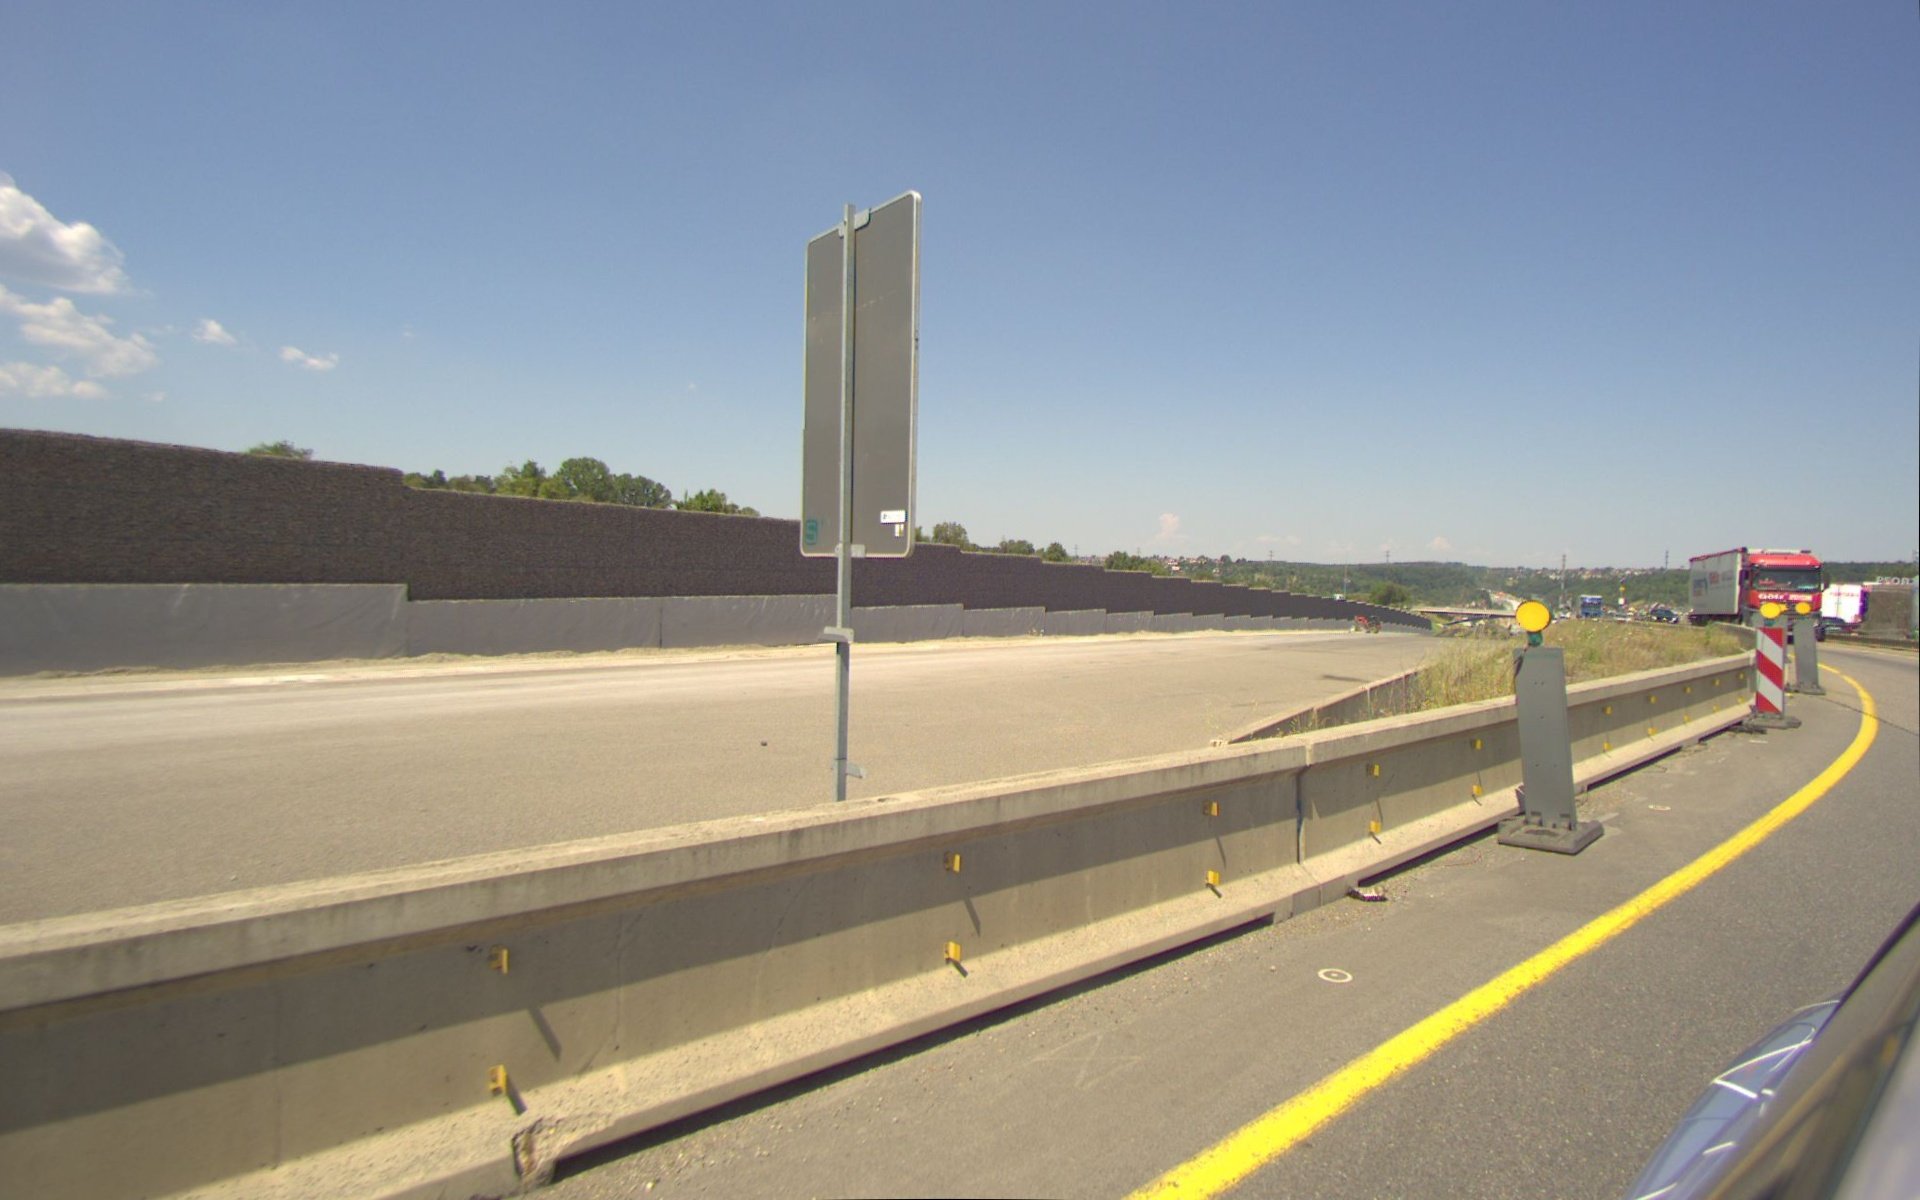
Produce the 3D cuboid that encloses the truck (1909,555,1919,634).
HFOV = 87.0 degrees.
[{"bbox_3d":[49.813,-0.240,50.447,2.436,4.058,5.023,2,1,30],"label":"truck"}]

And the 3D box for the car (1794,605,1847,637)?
[{"bbox_3d":[44.173,1.056,52.013,1.416,1.504,3.379,3,1,30],"label":"car"}]

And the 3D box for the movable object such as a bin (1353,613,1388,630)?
[{"bbox_3d":[57.520,3.021,141.864,4.058,2.174,1.762,2,1,3],"label":"movable object such as a bin"}]

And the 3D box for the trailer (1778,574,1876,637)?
[{"bbox_3d":[63.328,0.413,74.289,2.800,4.145,12.986,2,1,29],"label":"trailer"}]

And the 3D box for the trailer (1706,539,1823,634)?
[{"bbox_3d":[38.038,-0.611,48.287,2.683,3.923,12.284,3,1,31],"label":"trailer"}]

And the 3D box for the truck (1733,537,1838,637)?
[{"bbox_3d":[34.874,-0.571,42.927,2.608,3.952,4.879,3,1,31],"label":"truck"}]

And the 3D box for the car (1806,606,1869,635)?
[{"bbox_3d":[50.914,1.138,58.826,1.744,1.496,4.491,3,1,28],"label":"car"}]
